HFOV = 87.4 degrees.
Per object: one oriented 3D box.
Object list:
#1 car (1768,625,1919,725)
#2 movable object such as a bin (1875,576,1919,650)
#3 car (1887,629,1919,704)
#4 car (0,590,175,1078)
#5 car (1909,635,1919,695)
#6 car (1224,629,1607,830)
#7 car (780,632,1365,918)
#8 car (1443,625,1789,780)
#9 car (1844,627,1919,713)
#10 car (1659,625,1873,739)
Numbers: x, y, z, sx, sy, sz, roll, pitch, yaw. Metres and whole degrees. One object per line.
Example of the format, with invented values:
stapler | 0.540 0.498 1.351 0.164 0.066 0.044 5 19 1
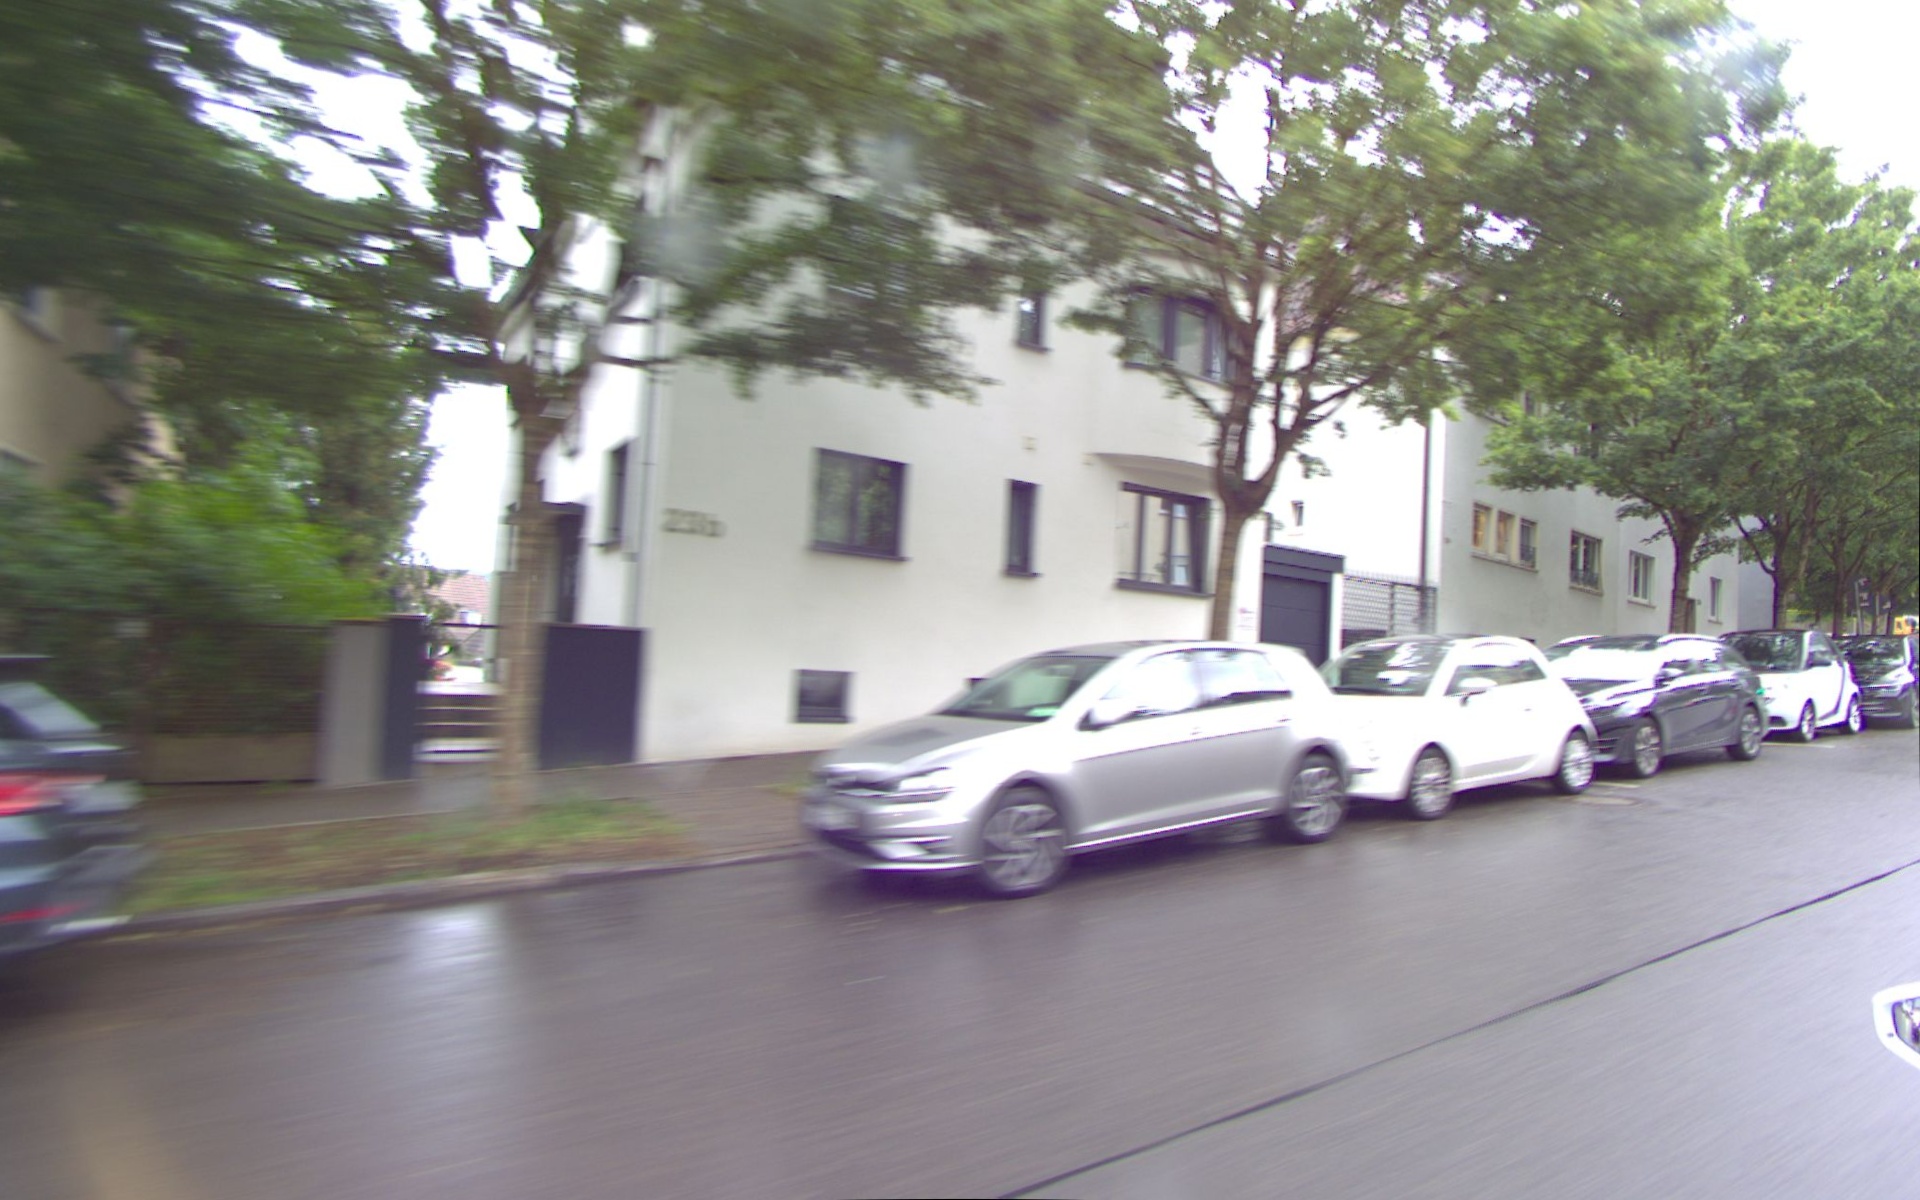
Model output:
car | 15.340 1.263 16.976 4.058 1.507 1.545 2 -6 -36
movable object such as a bin | 53.558 0.719 54.493 2.772 4.068 7.330 0 -1 15
car | 23.157 1.462 23.401 4.540 1.629 1.668 1 -6 -41
car | -5.201 0.829 3.307 3.879 1.679 1.611 2 -6 -31
car | 26.801 1.676 26.782 4.281 1.528 1.668 1 -4 -40
car | 4.253 1.073 9.273 3.432 1.507 1.566 1 -5 -33
car | 0.884 1.034 7.020 3.929 1.489 1.610 2 -5 -33
car | 7.740 1.131 11.738 4.427 1.507 1.656 2 -5 -33
car | 19.118 1.376 19.949 3.814 1.585 1.621 2 -4 -38
car | 12.131 1.212 15.086 3.349 1.530 1.546 2 -5 -34
